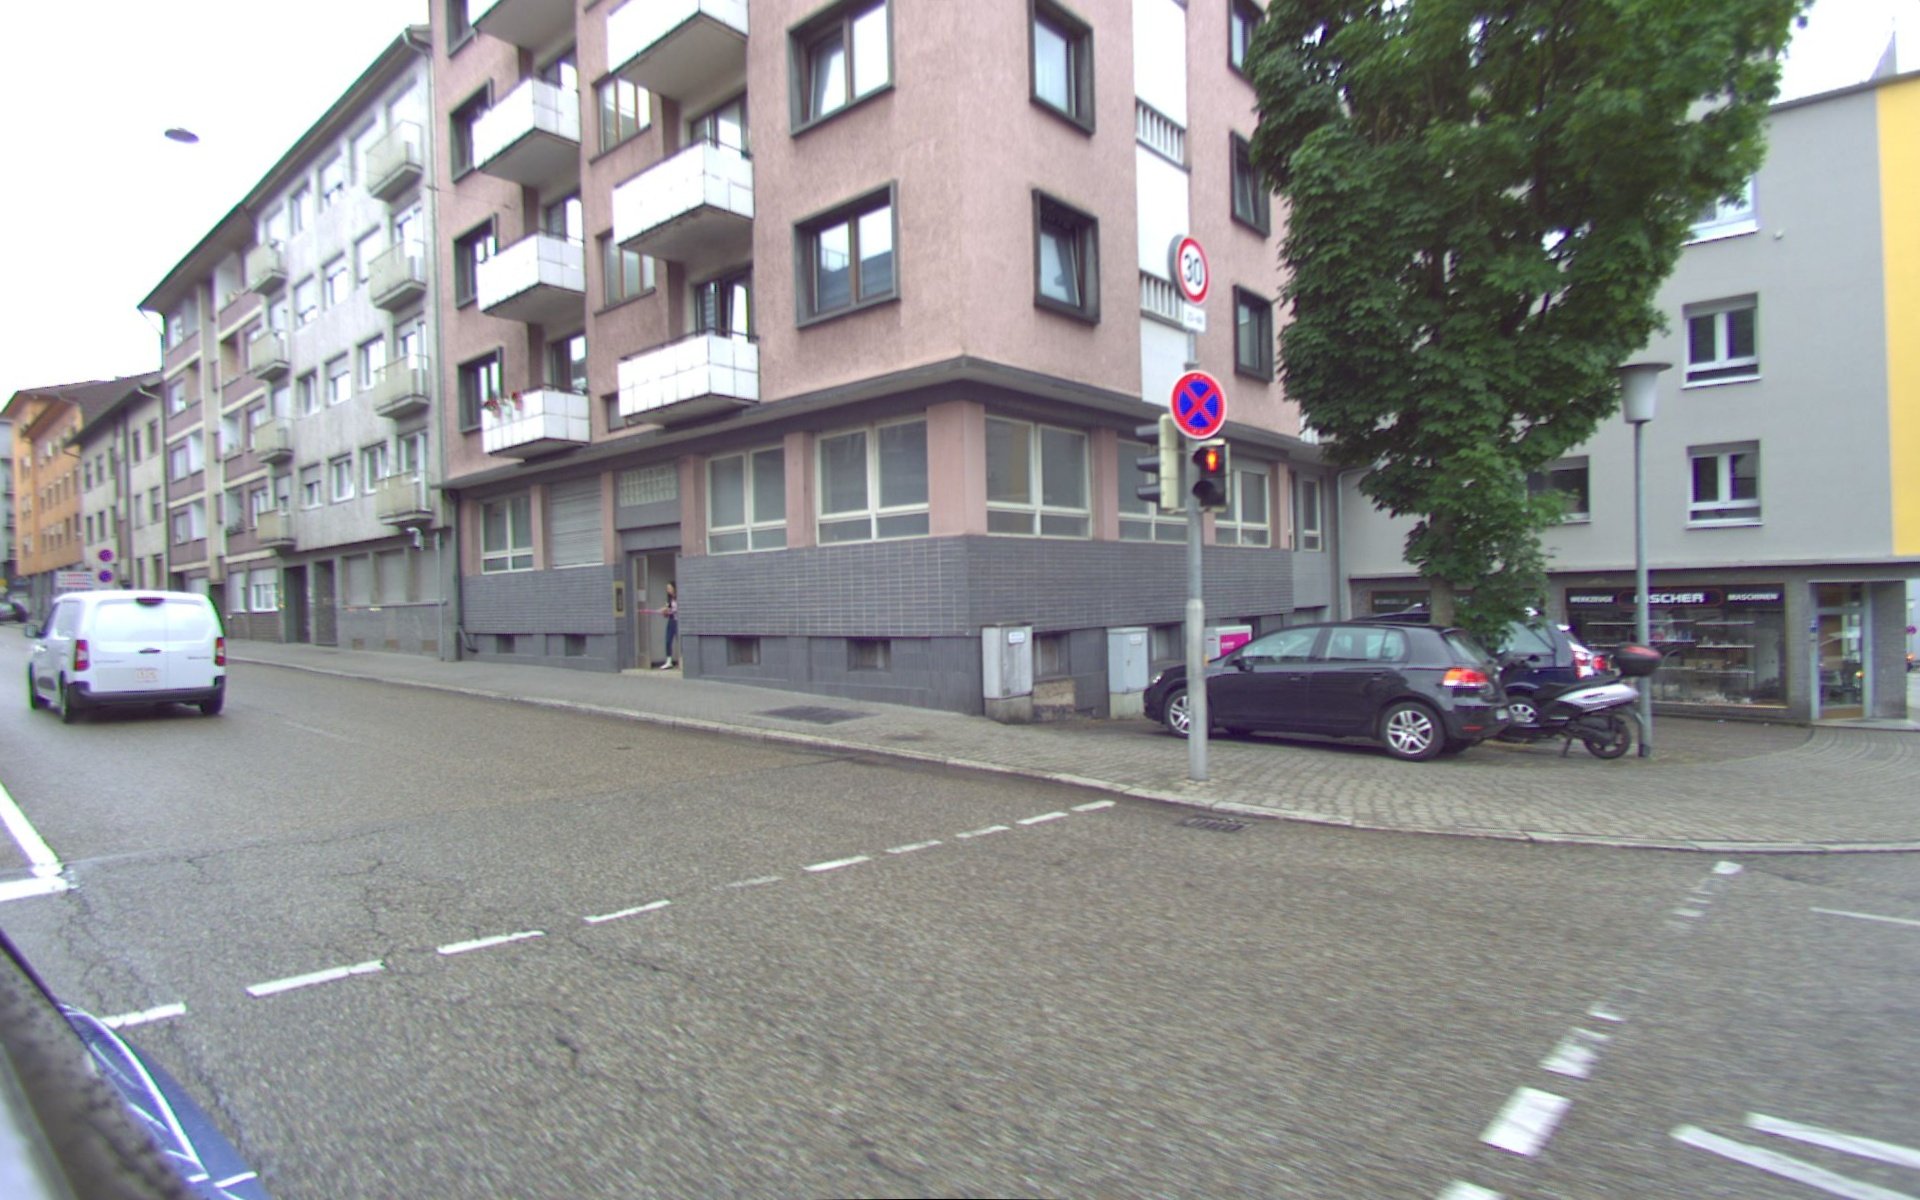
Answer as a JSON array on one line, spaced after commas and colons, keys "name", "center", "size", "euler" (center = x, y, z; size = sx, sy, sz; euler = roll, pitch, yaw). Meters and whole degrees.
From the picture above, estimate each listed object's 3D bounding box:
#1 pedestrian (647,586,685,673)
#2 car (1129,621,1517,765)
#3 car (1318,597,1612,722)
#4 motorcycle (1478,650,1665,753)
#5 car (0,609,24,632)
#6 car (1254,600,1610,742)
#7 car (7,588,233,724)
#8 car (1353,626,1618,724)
[{"name": "pedestrian", "center": [-5.528, 0.552, 19.053], "size": [0.525, 1.569, 0.448], "euler": [2, 5, 16]}, {"name": "car", "center": [4.186, 0.976, 11.991], "size": [3.997, 1.370, 1.715], "euler": [0, -2, 40]}, {"name": "car", "center": [7.980, 0.957, 16.310], "size": [3.978, 1.807, 1.844], "euler": [-1, -4, 26]}, {"name": "motorcycle", "center": [6.927, 1.121, 11.529], "size": [1.790, 1.040, 0.448], "euler": [0, -1, 34]}, {"name": "car", "center": [-65.049, 1.403, 68.688], "size": [3.801, 1.466, 1.687], "euler": [0, 2, 39]}, {"name": "car", "center": [6.459, 0.954, 14.361], "size": [4.313, 1.741, 1.762], "euler": [1, -4, 20]}, {"name": "car", "center": [-12.582, 0.780, 15.065], "size": [4.543, 1.728, 1.787], "euler": [-1, -3, 40]}, {"name": "car", "center": [9.213, 1.279, 17.994], "size": [3.981, 1.508, 1.843], "euler": [0, -4, 28]}]
